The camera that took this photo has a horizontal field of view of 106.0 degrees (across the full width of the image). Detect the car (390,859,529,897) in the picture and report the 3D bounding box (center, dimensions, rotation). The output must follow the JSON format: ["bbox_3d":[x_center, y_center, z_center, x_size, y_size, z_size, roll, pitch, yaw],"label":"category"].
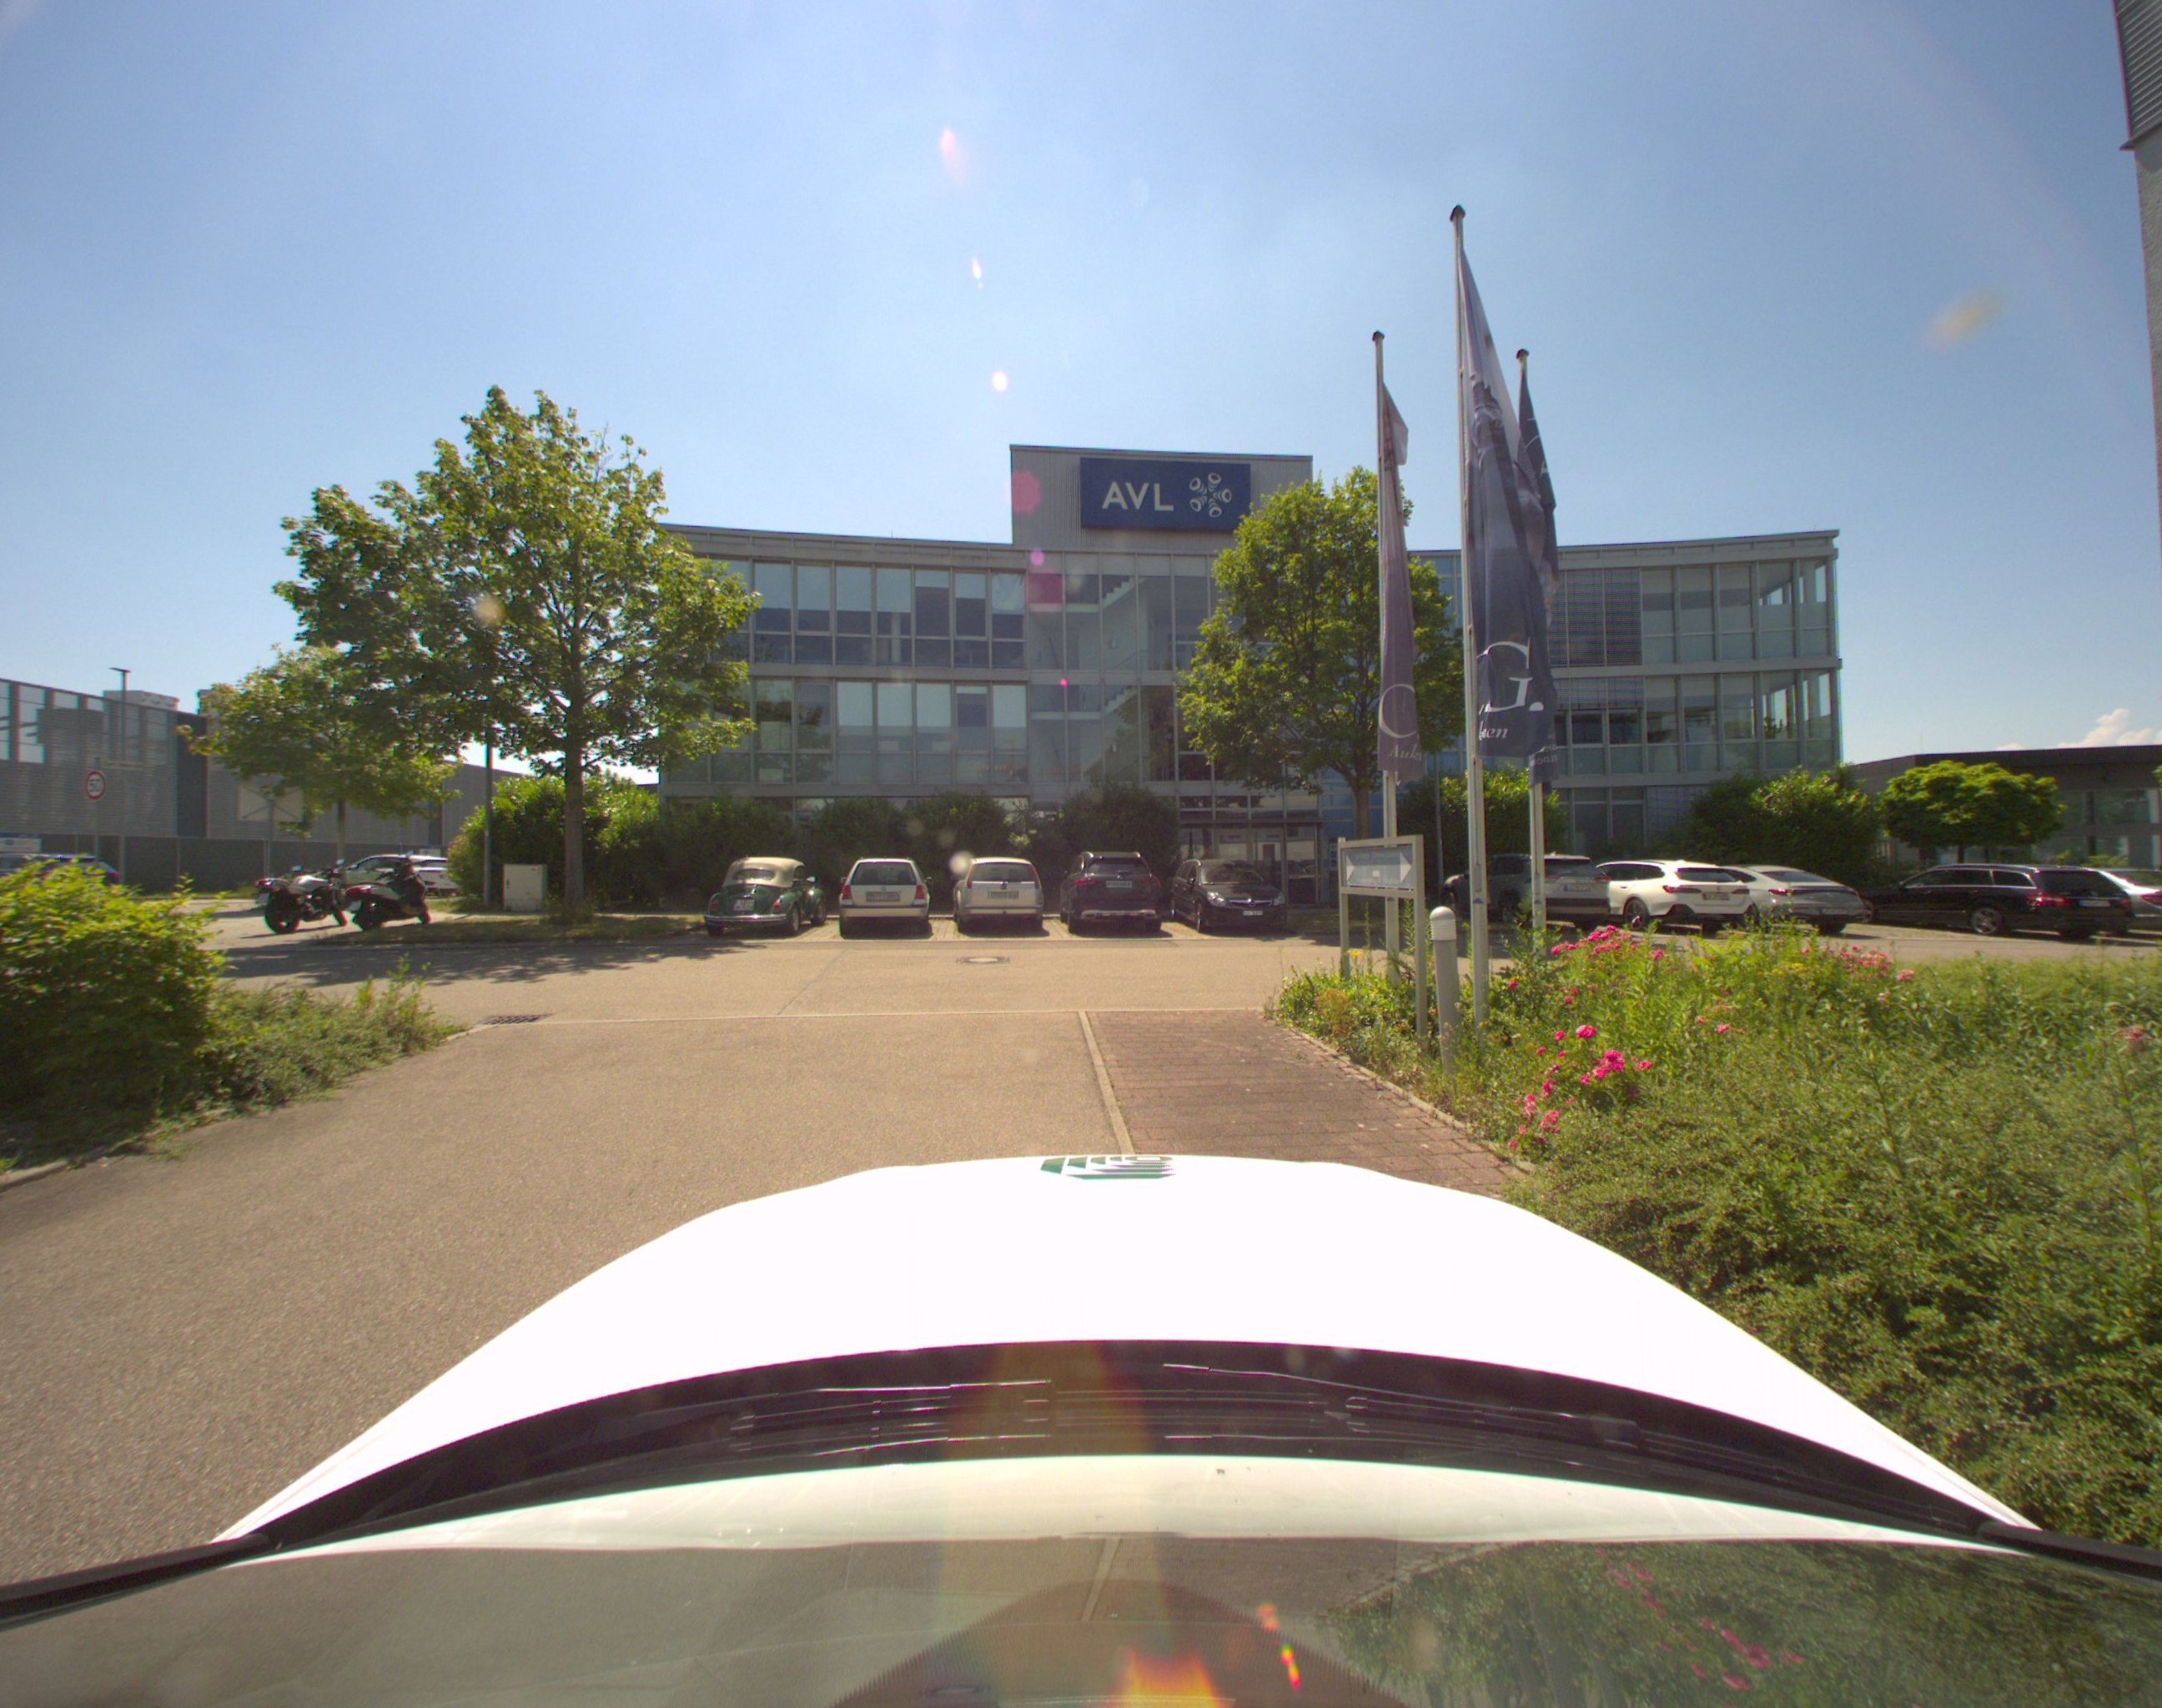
[{"bbox_3d":[-26.890,1.011,35.307,4.809,1.491,2.006,0,0,9],"label":"car"}]

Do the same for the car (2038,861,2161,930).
[{"bbox_3d":[24.135,0.926,17.681,1.728,1.447,4.423,1,0,4],"label":"car"}]

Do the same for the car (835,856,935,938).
[{"bbox_3d":[-3.908,0.800,16.774,1.731,1.449,3.642,1,0,-10],"label":"car"}]

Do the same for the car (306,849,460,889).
[{"bbox_3d":[-27.765,0.554,32.465,4.809,1.491,2.006,0,0,9],"label":"car"}]

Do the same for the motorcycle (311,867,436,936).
[{"bbox_3d":[-13.014,0.843,15.075,0.712,1.138,1.954,-1,0,-5],"label":"motorcycle"}]

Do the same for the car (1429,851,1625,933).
[{"bbox_3d":[9.920,0.751,18.554,1.817,1.619,4.331,-1,0,-5],"label":"car"}]

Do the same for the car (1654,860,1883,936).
[{"bbox_3d":[15.164,0.892,18.338,1.728,1.429,4.345,1,0,4],"label":"car"}]

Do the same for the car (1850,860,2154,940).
[{"bbox_3d":[19.662,0.889,17.776,1.728,1.447,4.554,1,0,4],"label":"car"}]

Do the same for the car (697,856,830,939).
[{"bbox_3d":[-6.195,0.782,16.298,1.539,1.449,3.646,1,0,-6],"label":"car"}]

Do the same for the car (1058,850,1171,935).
[{"bbox_3d":[0.599,0.731,17.634,1.924,1.610,3.979,1,0,-5],"label":"car"}]

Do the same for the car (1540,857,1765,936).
[{"bbox_3d":[12.476,0.846,18.185,1.733,1.491,4.331,1,0,-5],"label":"car"}]

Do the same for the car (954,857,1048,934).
[{"bbox_3d":[-1.821,0.809,17.588,1.765,1.449,3.642,1,0,-10],"label":"car"}]

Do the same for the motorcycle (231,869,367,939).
[{"bbox_3d":[-14.280,0.869,14.967,0.712,1.138,1.954,-1,0,-5],"label":"motorcycle"}]

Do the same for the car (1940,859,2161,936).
[{"bbox_3d":[22.120,0.871,17.998,1.728,1.447,4.554,1,0,4],"label":"car"}]

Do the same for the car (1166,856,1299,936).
[{"bbox_3d":[3.139,0.807,17.745,1.767,1.482,4.251,-1,0,-5],"label":"car"}]

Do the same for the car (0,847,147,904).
[{"bbox_3d":[-29.193,0.562,22.736,4.472,1.491,2.006,0,0,9],"label":"car"}]
